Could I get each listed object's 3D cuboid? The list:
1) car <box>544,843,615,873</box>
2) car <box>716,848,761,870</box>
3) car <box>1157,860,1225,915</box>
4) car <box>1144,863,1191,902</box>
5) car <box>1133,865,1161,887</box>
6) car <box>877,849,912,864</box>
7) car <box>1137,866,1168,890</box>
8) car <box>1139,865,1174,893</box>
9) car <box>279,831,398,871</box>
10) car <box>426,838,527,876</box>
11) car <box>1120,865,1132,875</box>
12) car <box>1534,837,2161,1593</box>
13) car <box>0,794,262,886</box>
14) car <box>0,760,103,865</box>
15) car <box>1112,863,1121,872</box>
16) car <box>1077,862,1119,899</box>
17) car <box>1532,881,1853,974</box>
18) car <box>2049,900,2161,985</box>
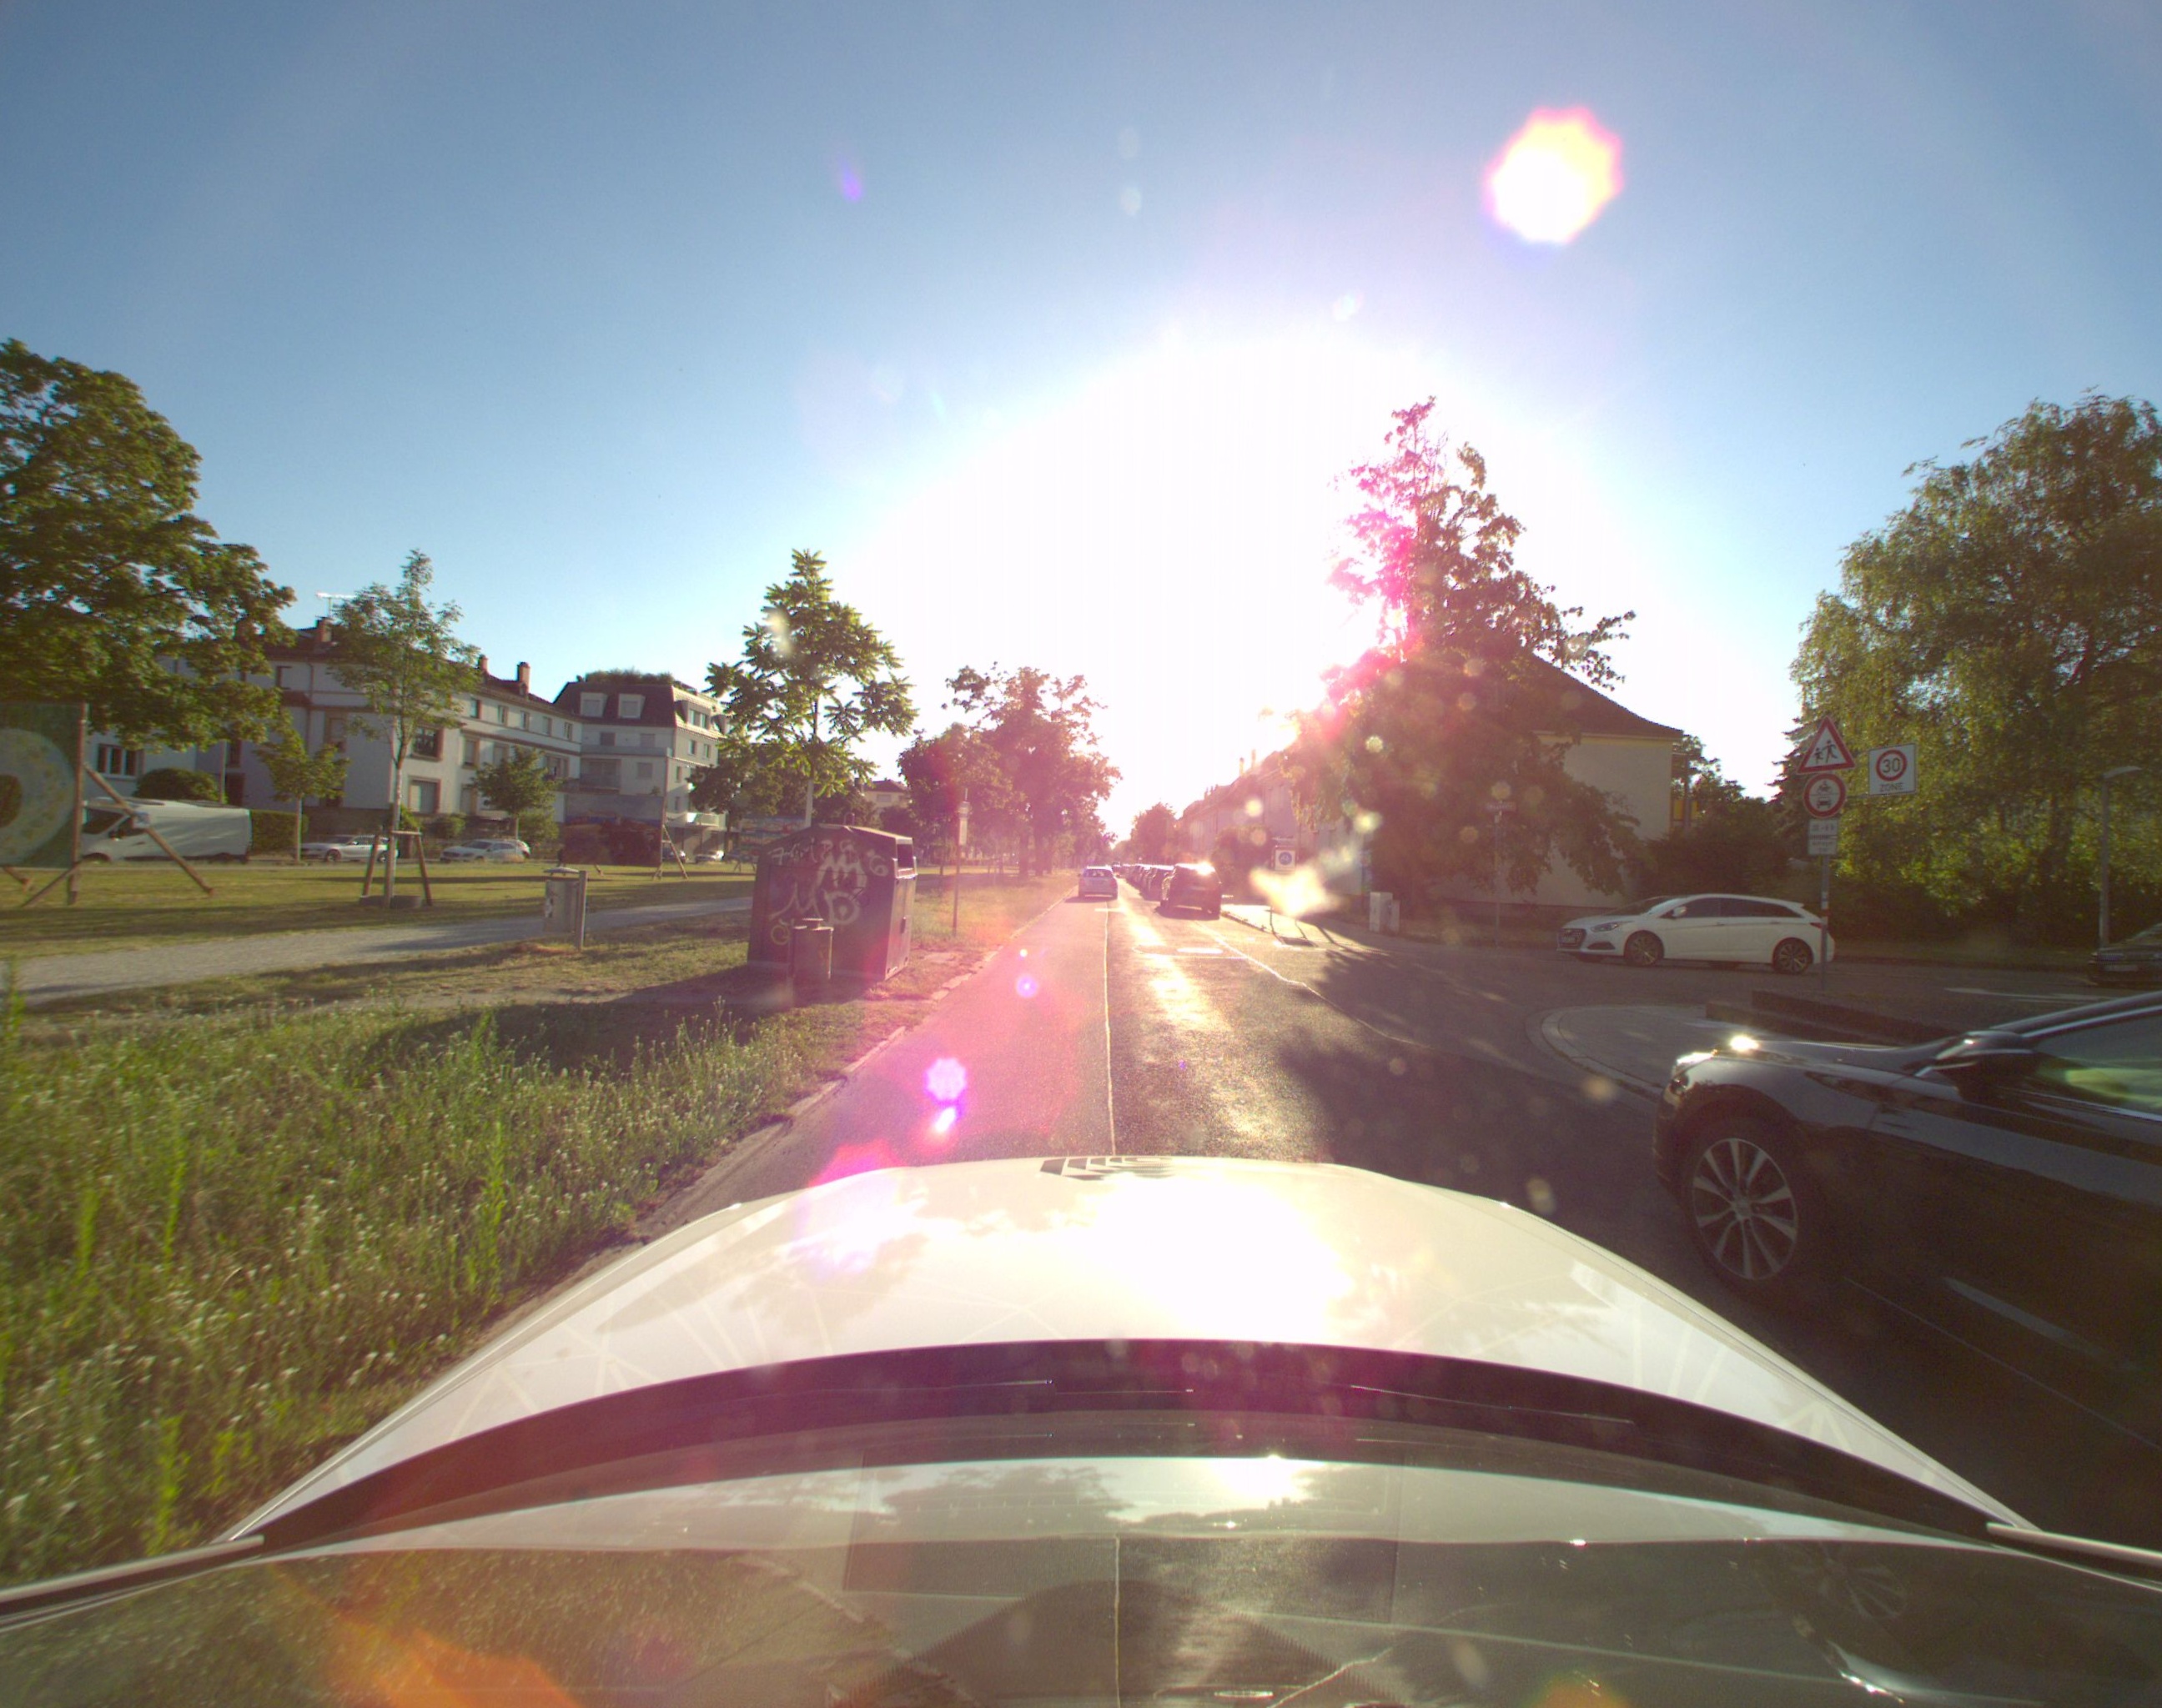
[{"bbox_3d":[-37.954,0.325,61.797,2.229,2.131,4.856,-2,-2,3],"label":"car"},{"bbox_3d":[-31.359,0.490,74.736,1.921,1.828,4.693,-2,-2,2],"label":"car"},{"bbox_3d":[4.001,1.198,30.378,1.826,1.732,5.032,4,-1,1],"label":"car"},{"bbox_3d":[4.416,1.403,42.073,1.926,1.720,4.622,5,0,1],"label":"car"},{"bbox_3d":[5.093,1.641,63.160,1.720,1.561,4.414,3,-1,-1],"label":"car"},{"bbox_3d":[-36.728,0.557,160.725,6.331,2.720,1.984,2,-1,-29],"label":"car"},{"bbox_3d":[5.062,1.672,57.981,1.985,1.462,4.565,4,-1,3],"label":"car"},{"bbox_3d":[4.871,1.600,53.035,1.722,1.548,4.206,7,-1,0],"label":"car"},{"bbox_3d":[-38.298,-0.099,42.177,1.723,1.854,4.715,-2,-2,2],"label":"car"},{"bbox_3d":[-32.548,0.221,44.009,1.826,1.899,4.645,-2,-2,3],"label":"car"},{"bbox_3d":[7.057,2.514,128.430,1.715,1.597,4.001,2,-2,2],"label":"car"},{"bbox_3d":[3.218,0.861,1.839,1.815,1.561,4.624,8,0,2],"label":"car"},{"bbox_3d":[-32.744,-0.355,28.382,2.252,2.826,5.873,-2,-2,2],"label":"car"},{"bbox_3d":[-38.526,-1.469,27.633,2.294,3.559,6.767,-2,-2,2],"label":"car"},{"bbox_3d":[8.191,3.035,186.705,1.981,2.023,4.002,2,-1,2],"label":"car"},{"bbox_3d":[0.810,1.159,37.309,1.816,1.566,4.002,1,0,2],"label":"car"},{"bbox_3d":[11.826,1.418,16.031,4.830,1.486,2.002,3,-4,1],"label":"car"},{"bbox_3d":[22.382,1.810,16.032,4.097,1.510,2.002,3,-1,4],"label":"car"}]
